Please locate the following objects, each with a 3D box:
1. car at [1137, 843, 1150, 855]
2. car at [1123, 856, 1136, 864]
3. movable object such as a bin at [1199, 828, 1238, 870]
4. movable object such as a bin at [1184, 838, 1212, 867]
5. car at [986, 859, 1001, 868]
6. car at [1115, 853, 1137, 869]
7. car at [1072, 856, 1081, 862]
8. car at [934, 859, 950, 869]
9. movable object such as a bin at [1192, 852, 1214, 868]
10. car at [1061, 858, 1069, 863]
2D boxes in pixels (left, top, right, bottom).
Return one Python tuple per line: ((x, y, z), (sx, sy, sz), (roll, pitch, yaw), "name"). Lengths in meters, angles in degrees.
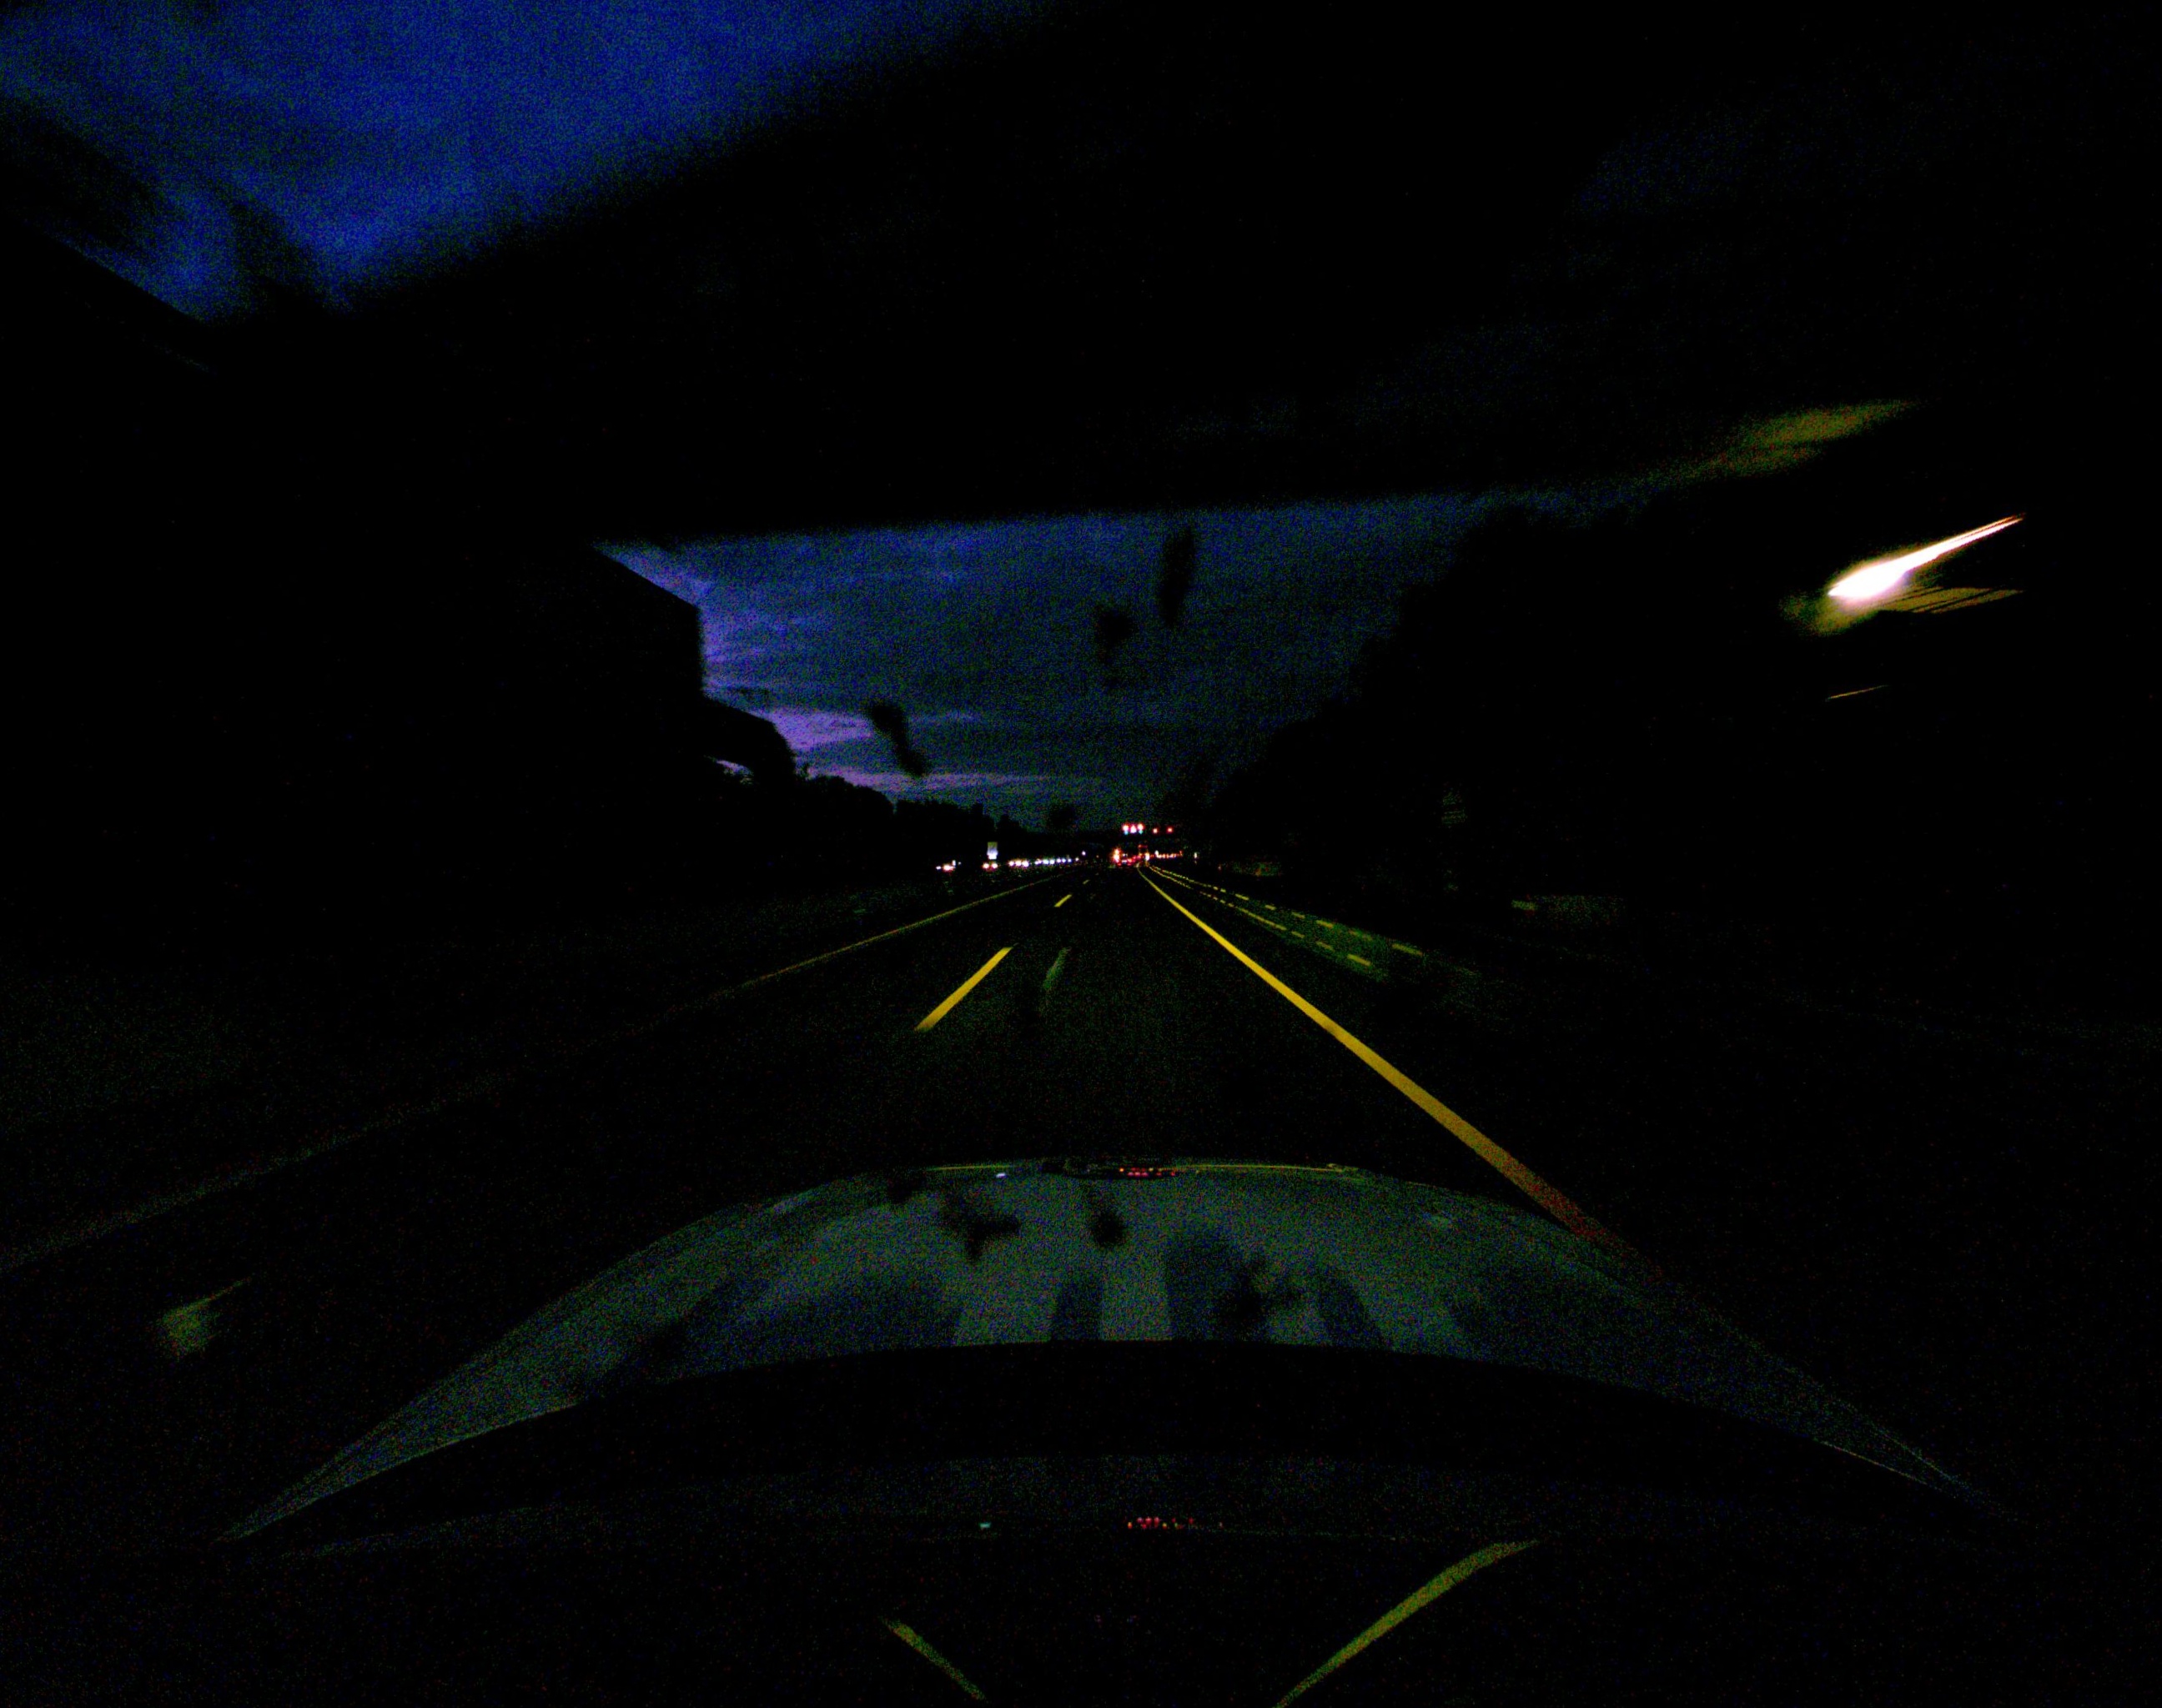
((18.575, -1.373, 241.112), (3.588, 3.396, 8.024), (0, -1, 5), "car")
((8.889, 1.089, 149.093), (1.960, 1.437, 4.009), (0, -1, 9), "car")
((11.783, -0.401, 70.092), (2.553, 3.318, 5.583), (-3, -1, 3), "movable object such as a bin")
((13.291, -0.184, 93.022), (2.610, 3.108, 5.810), (-2, -1, 3), "movable object such as a bin")
((-15.334, 1.617, 142.508), (1.664, 1.470, 4.654), (0, -1, 6), "car")
((4.869, 0.764, 88.245), (2.256, 1.621, 4.003), (0, -1, 3), "car")
((-1.234, 1.369, 226.532), (1.891, 1.738, 4.815), (0, -1, 5), "car")
((-22.071, 1.573, 129.456), (1.569, 1.470, 4.232), (0, -1, 5), "car")
((13.145, 0.644, 88.050), (1.985, 1.601, 4.089), (-3, -1, 4), "movable object such as a bin")
((-4.436, 1.798, 225.321), (1.801, 1.485, 4.708), (0, -1, 5), "car")
